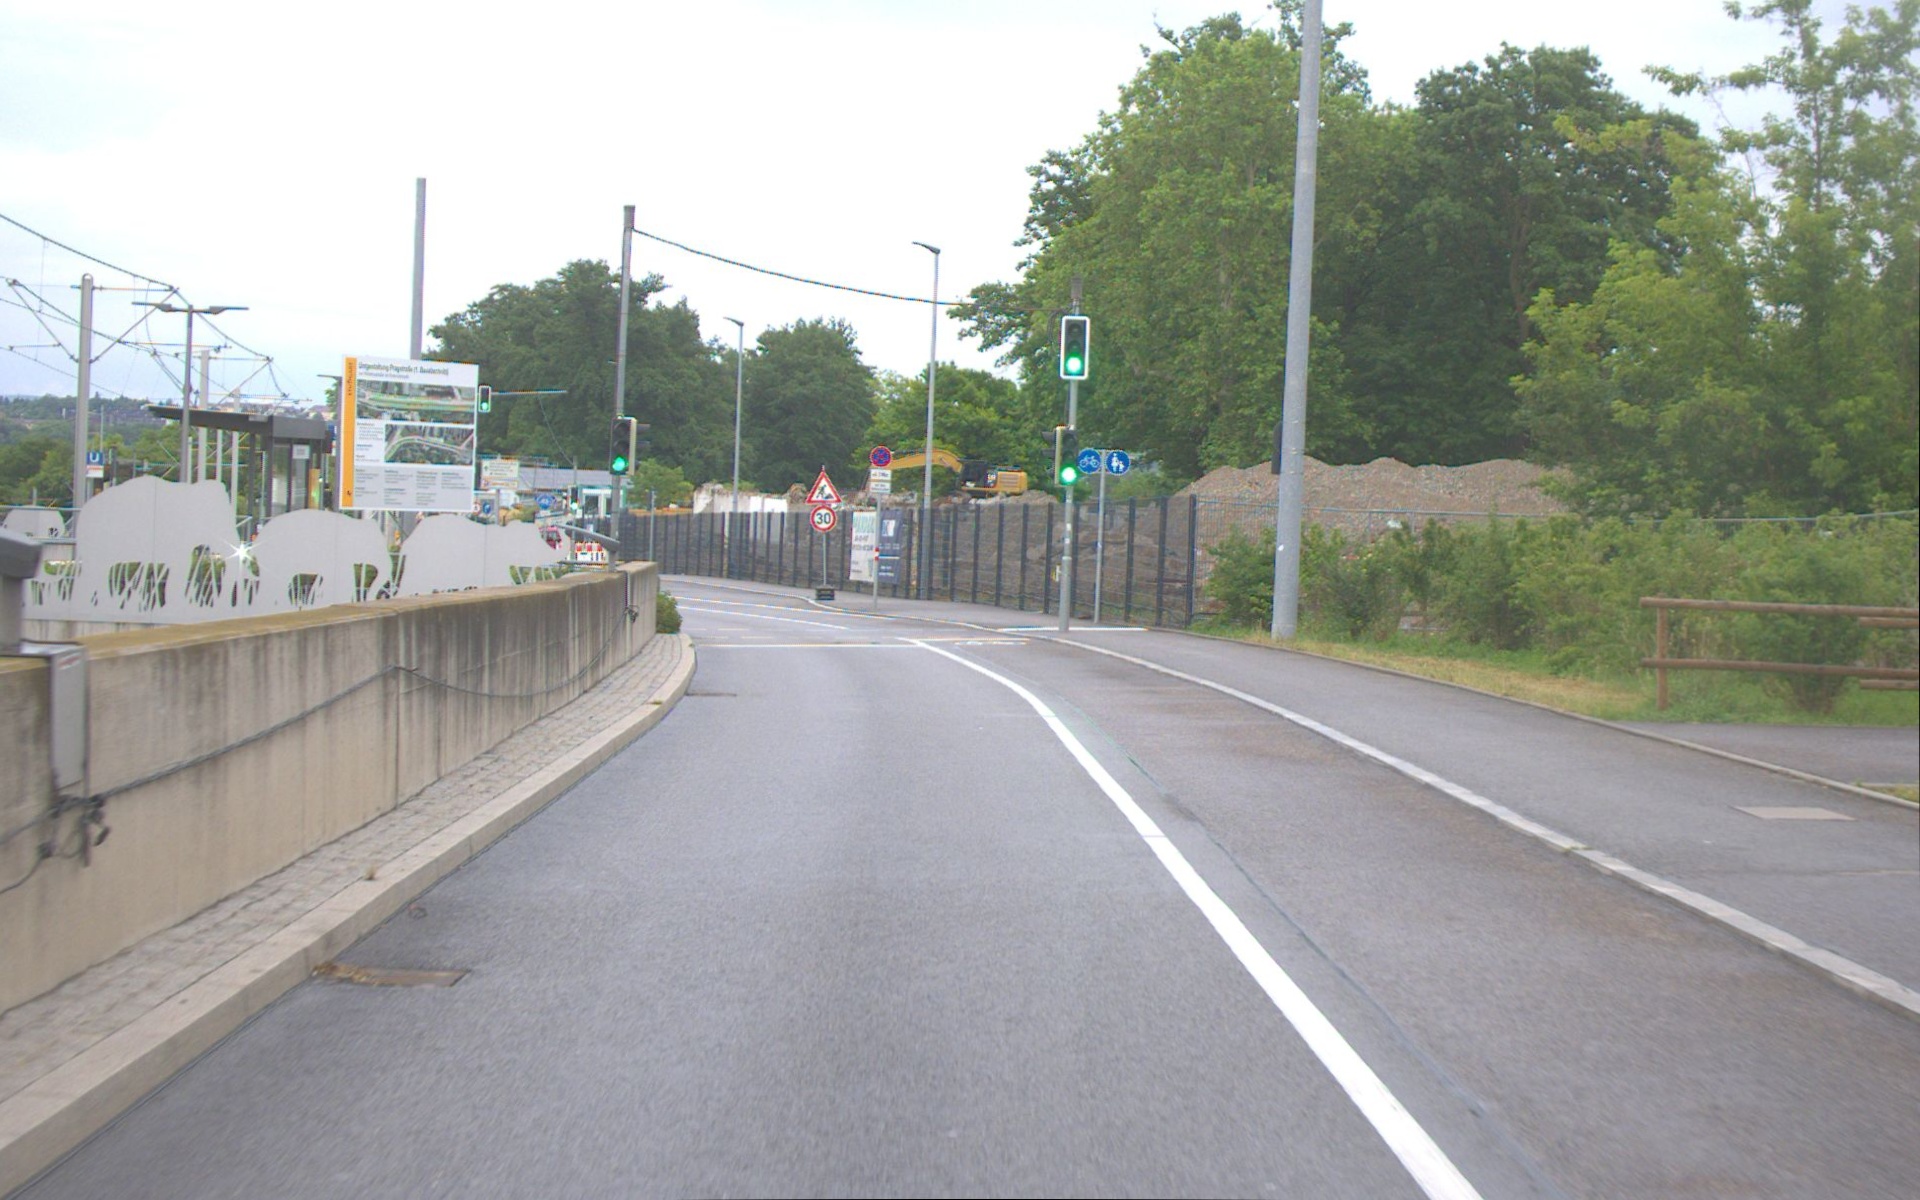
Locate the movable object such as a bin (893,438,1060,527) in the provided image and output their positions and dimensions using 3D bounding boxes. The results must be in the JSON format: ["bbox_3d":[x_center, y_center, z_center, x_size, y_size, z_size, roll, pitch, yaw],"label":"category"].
[{"bbox_3d":[1.131,-8.095,237.590,11.229,5.975,3.492,0,1,-5],"label":"movable object such as a bin"}]
